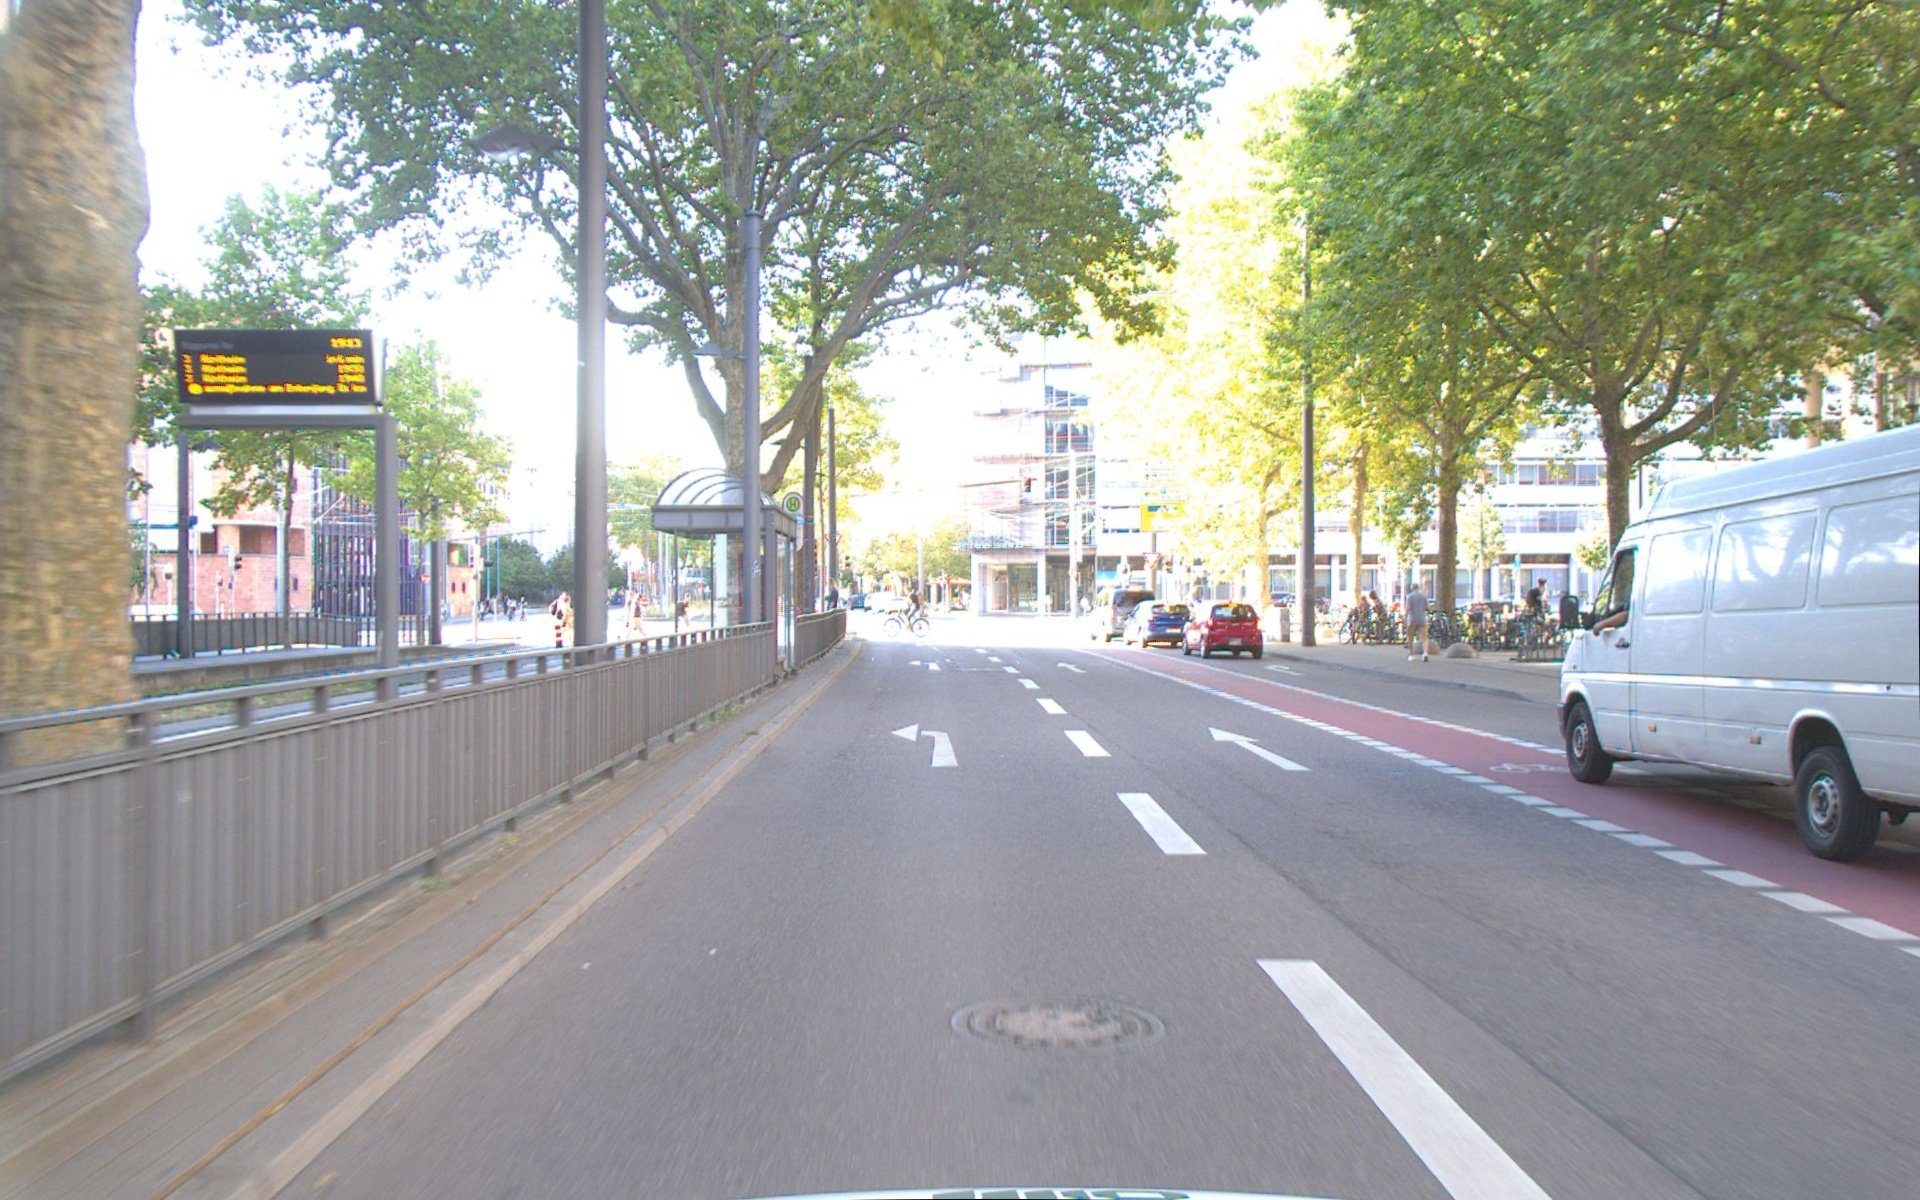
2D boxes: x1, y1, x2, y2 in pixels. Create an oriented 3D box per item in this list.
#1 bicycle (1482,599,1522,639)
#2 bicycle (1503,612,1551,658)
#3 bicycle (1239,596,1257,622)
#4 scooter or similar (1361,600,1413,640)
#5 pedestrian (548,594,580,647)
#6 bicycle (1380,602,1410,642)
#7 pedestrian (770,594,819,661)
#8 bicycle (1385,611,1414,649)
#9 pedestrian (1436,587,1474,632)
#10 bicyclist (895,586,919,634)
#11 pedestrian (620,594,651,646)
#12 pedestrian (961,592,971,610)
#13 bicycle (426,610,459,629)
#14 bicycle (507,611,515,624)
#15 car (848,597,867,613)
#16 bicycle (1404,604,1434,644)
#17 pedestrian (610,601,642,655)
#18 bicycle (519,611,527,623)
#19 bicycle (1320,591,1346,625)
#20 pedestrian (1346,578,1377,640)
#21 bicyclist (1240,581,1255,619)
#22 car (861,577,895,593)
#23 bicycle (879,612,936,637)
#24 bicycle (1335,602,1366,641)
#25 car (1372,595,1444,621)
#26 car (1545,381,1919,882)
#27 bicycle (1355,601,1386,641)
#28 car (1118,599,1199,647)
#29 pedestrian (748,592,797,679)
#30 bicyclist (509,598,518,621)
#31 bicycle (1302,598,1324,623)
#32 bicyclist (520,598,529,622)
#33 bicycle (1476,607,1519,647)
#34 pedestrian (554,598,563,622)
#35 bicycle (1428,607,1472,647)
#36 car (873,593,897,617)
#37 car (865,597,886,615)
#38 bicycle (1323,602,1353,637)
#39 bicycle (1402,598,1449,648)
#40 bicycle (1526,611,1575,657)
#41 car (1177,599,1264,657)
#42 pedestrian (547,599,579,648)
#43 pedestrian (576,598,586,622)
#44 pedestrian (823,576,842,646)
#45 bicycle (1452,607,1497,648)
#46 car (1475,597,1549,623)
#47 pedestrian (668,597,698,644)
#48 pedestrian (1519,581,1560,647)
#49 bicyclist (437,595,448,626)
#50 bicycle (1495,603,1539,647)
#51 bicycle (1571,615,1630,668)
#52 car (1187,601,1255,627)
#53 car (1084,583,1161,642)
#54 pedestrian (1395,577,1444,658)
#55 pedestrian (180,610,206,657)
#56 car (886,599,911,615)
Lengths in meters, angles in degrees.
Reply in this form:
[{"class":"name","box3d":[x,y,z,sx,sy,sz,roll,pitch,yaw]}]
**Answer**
[{"class":"bicycle","box3d":[16.148,0.554,49.298,0.413,1.180,1.472,-1,0,-12]},{"class":"bicycle","box3d":[12.777,0.772,37.301,0.442,0.997,1.762,-1,0,-1]},{"class":"bicycle","box3d":[12.751,0.395,73.316,0.554,1.146,1.779,-1,0,2]},{"class":"scooter or similar","box3d":[13.087,0.621,50.689,1.233,1.162,0.912,3,-3,-18]},{"class":"pedestrian","box3d":[-14.270,0.748,59.652,1.054,1.904,0.736,1,-1,-12]},{"class":"bicycle","box3d":[12.789,0.646,48.635,0.583,1.135,1.825,-1,0,23]},{"class":"pedestrian","box3d":[-3.568,0.591,35.703,0.956,1.424,0.664,1,-1,0]},{"class":"bicycle","box3d":[14.211,0.957,53.542,0.412,1.180,1.475,-1,0,-6]},{"class":"pedestrian","box3d":[20.736,0.407,69.318,1.186,1.854,1.039,1,-1,-10]},{"class":"bicyclist","box3d":[-2.030,0.381,63.328,0.833,1.816,0.752,-1,0,-5]},{"class":"pedestrian","box3d":[-11.657,0.708,59.409,1.052,1.837,0.756,1,-1,-12]},{"class":"pedestrian","box3d":[0.506,0.096,133.839,0.725,1.491,0.536,-1,0,-6]},{"class":"bicycle","box3d":[-34.946,1.300,111.715,2.077,1.261,0.446,-1,0,-41]},{"class":"bicycle","box3d":[-32.813,1.268,120.893,0.504,0.897,1.833,-1,0,-12]},{"class":"car","box3d":[-11.420,0.533,184.017,1.954,1.691,3.996,-1,0,-4]},{"class":"bicycle","box3d":[13.442,0.697,48.424,0.594,1.135,1.825,-1,0,23]},{"class":"pedestrian","box3d":[-12.198,1.016,60.373,1.125,1.927,0.831,1,-1,-12]},{"class":"bicycle","box3d":[-32.038,1.238,121.260,0.504,0.897,1.833,-1,0,-12]},{"class":"bicycle","box3d":[14.871,0.319,65.978,0.441,1.309,1.885,-1,0,-6]},{"class":"pedestrian","box3d":[11.940,0.264,49.178,0.789,1.817,0.657,-1,0,22]},{"class":"bicyclist","box3d":[12.746,0.007,73.355,0.550,1.644,0.822,-1,0,2]},{"class":"car","box3d":[-9.819,-1.836,198.710,3.681,1.780,1.783,1,-1,10]},{"class":"bicycle","box3d":[-2.009,0.928,63.336,2.134,0.950,0.667,0,0,-4]},{"class":"bicycle","box3d":[11.721,0.637,49.595,0.583,1.135,1.825,-1,0,23]},{"class":"car","box3d":[28.691,0.529,106.015,4.153,1.587,1.796,-1,0,1]},{"class":"car","box3d":[6.288,0.189,11.687,1.953,2.772,6.561,1,0,0]},{"class":"bicycle","box3d":[12.138,0.607,48.888,0.583,1.135,1.948,-1,0,23]},{"class":"car","box3d":[6.361,0.714,53.468,1.730,1.490,4.212,-1,0,-5]},{"class":"pedestrian","box3d":[-3.126,0.590,27.605,0.719,1.412,0.640,1,-1,0]},{"class":"bicyclist","box3d":[-32.670,0.699,121.016,0.582,1.705,0.787,-1,0,-10]},{"class":"bicycle","box3d":[14.030,0.412,65.769,0.441,1.000,1.475,-1,0,-6]},{"class":"bicyclist","box3d":[-31.944,0.717,121.329,0.582,1.705,0.787,-1,0,-10]},{"class":"bicycle","box3d":[14.369,0.708,44.280,0.492,1.050,1.653,-1,0,-4]},{"class":"pedestrian","box3d":[-27.874,0.708,114.867,0.529,1.679,0.621,-1,0,-23]},{"class":"bicycle","box3d":[13.094,0.715,44.239,0.584,1.050,1.653,-1,0,-4]},{"class":"car","box3d":[-6.702,0.438,147.156,1.954,2.026,3.996,-1,0,-4]},{"class":"car","box3d":[-8.360,0.574,162.579,1.954,1.691,3.996,-1,0,-4]},{"class":"bicycle","box3d":[12.142,0.621,53.162,0.614,1.075,1.572,-1,0,2]},{"class":"bicycle","box3d":[12.412,0.602,44.115,0.584,1.286,1.874,-1,0,-4]},{"class":"bicycle","box3d":[13.322,0.763,37.369,0.442,0.997,1.762,-1,0,-1]},{"class":"car","box3d":[7.002,0.731,44.794,1.528,1.490,3.618,0,0,-4]},{"class":"pedestrian","box3d":[-14.137,0.838,58.914,1.053,1.711,0.756,1,-1,-12]},{"class":"pedestrian","box3d":[-26.442,0.704,115.357,0.529,1.679,0.621,-1,0,-23]},{"class":"pedestrian","box3d":[-3.597,0.308,46.646,0.499,1.933,0.759,1,-1,-3]},{"class":"bicycle","box3d":[13.765,0.721,44.275,0.584,1.050,1.653,-1,0,-4]},{"class":"car","box3d":[35.413,0.641,106.178,4.153,1.587,1.796,-1,0,1]},{"class":"pedestrian","box3d":[-10.439,0.783,62.327,1.053,1.745,0.627,1,-1,-8]},{"class":"pedestrian","box3d":[16.042,0.388,45.800,0.802,1.788,0.769,-1,0,-9]},{"class":"bicyclist","box3d":[-34.961,0.729,111.718,0.557,2.096,0.445,0,0,-39]},{"class":"bicycle","box3d":[14.923,0.662,44.317,0.492,1.157,1.653,-1,0,-4]},{"class":"bicycle","box3d":[12.546,0.799,32.451,0.442,0.997,1.762,-1,0,-1]},{"class":"car","box3d":[16.827,0.878,106.593,4.152,1.630,1.796,-1,0,3]},{"class":"car","box3d":[5.839,0.437,60.056,1.954,2.000,5.133,1,0,-4]},{"class":"pedestrian","box3d":[10.567,0.393,38.057,0.854,1.817,0.808,-1,0,-3]},{"class":"pedestrian","box3d":[-27.258,1.184,58.807,0.578,1.612,0.724,2,-1,-5]},{"class":"car","box3d":[-5.229,0.577,140.556,1.954,1.355,3.996,-1,0,-4]}]
